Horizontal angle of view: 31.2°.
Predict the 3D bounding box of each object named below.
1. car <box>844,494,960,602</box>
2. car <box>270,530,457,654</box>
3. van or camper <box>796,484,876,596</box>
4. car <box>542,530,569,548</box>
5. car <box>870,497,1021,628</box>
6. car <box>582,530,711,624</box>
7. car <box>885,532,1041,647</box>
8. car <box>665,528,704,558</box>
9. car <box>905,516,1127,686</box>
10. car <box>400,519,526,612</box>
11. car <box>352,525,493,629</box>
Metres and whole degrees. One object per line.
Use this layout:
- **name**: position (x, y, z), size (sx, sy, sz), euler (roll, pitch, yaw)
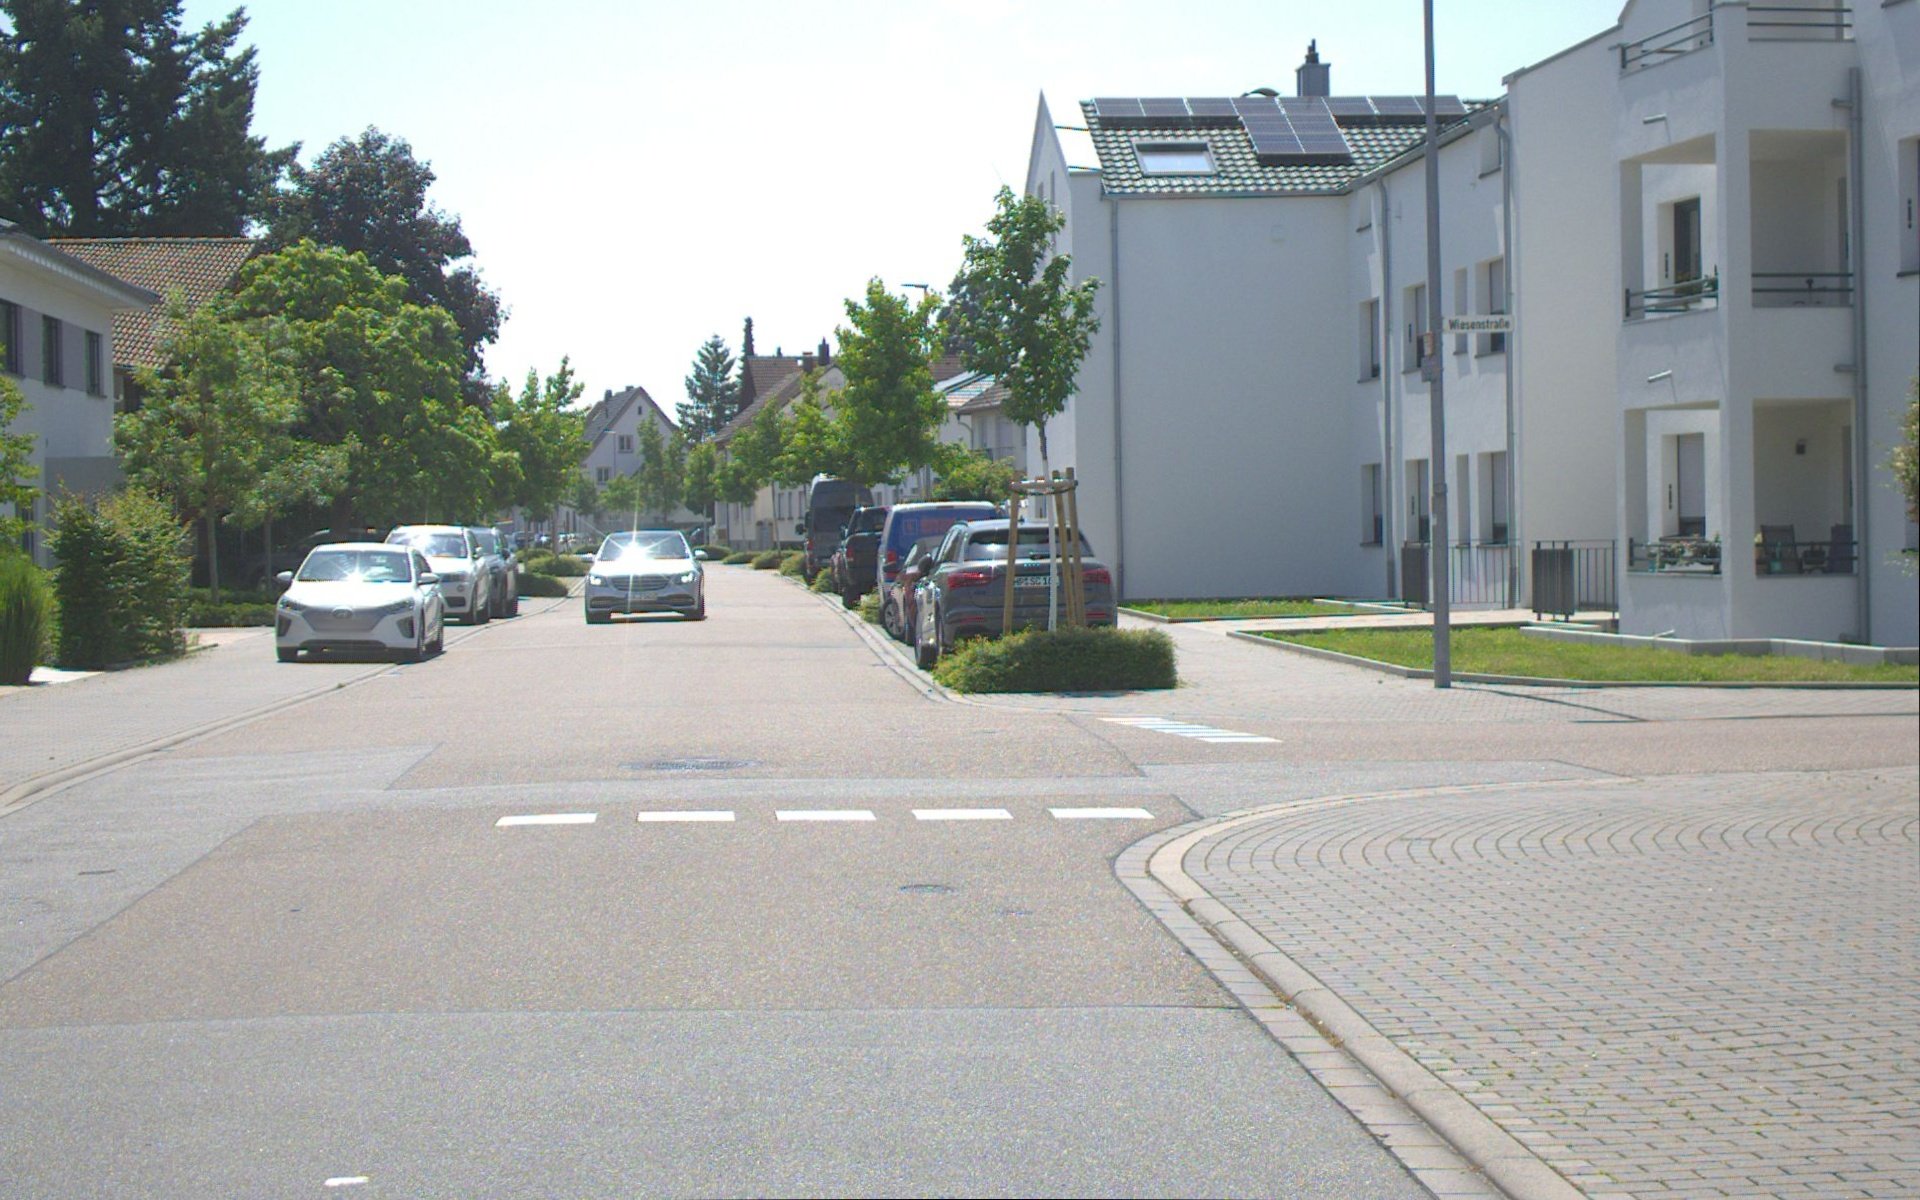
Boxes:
- **car**: position (-1.167, -1.022, 66.720), size (1.993, 1.940, 5.215), euler (-2, 1, -3)
- **car**: position (-7.594, -0.138, 44.100), size (1.852, 1.483, 4.386), euler (-1, 1, -3)
- **van or camper**: position (-3.321, -1.601, 91.591), size (1.993, 2.931, 4.001), euler (0, 1, -4)
- **car**: position (-28.821, -4.334, 245.253), size (1.663, 1.246, 3.932), euler (-1, 1, -3)
- **car**: position (-0.271, -0.601, 52.544), size (2.099, 1.875, 4.843), euler (-1, 1, -2)
- **car**: position (-5.213, -0.418, 57.718), size (1.853, 1.473, 4.700), euler (-1, 1, -2)
- **car**: position (-0.003, -0.176, 45.941), size (1.679, 1.437, 4.028), euler (-1, 1, -6)
- **car**: position (-14.852, -3.099, 185.487), size (1.993, 1.568, 4.001), euler (-1, 1, -3)
- **car**: position (0.515, -0.037, 35.848), size (1.773, 1.590, 4.280), euler (-2, 1, -6)
- **car**: position (-9.411, -0.681, 65.411), size (1.993, 1.674, 4.215), euler (-1, 1, -3)
- **car**: position (-9.185, -0.429, 59.016), size (1.927, 1.681, 4.499), euler (-1, 1, -3)
